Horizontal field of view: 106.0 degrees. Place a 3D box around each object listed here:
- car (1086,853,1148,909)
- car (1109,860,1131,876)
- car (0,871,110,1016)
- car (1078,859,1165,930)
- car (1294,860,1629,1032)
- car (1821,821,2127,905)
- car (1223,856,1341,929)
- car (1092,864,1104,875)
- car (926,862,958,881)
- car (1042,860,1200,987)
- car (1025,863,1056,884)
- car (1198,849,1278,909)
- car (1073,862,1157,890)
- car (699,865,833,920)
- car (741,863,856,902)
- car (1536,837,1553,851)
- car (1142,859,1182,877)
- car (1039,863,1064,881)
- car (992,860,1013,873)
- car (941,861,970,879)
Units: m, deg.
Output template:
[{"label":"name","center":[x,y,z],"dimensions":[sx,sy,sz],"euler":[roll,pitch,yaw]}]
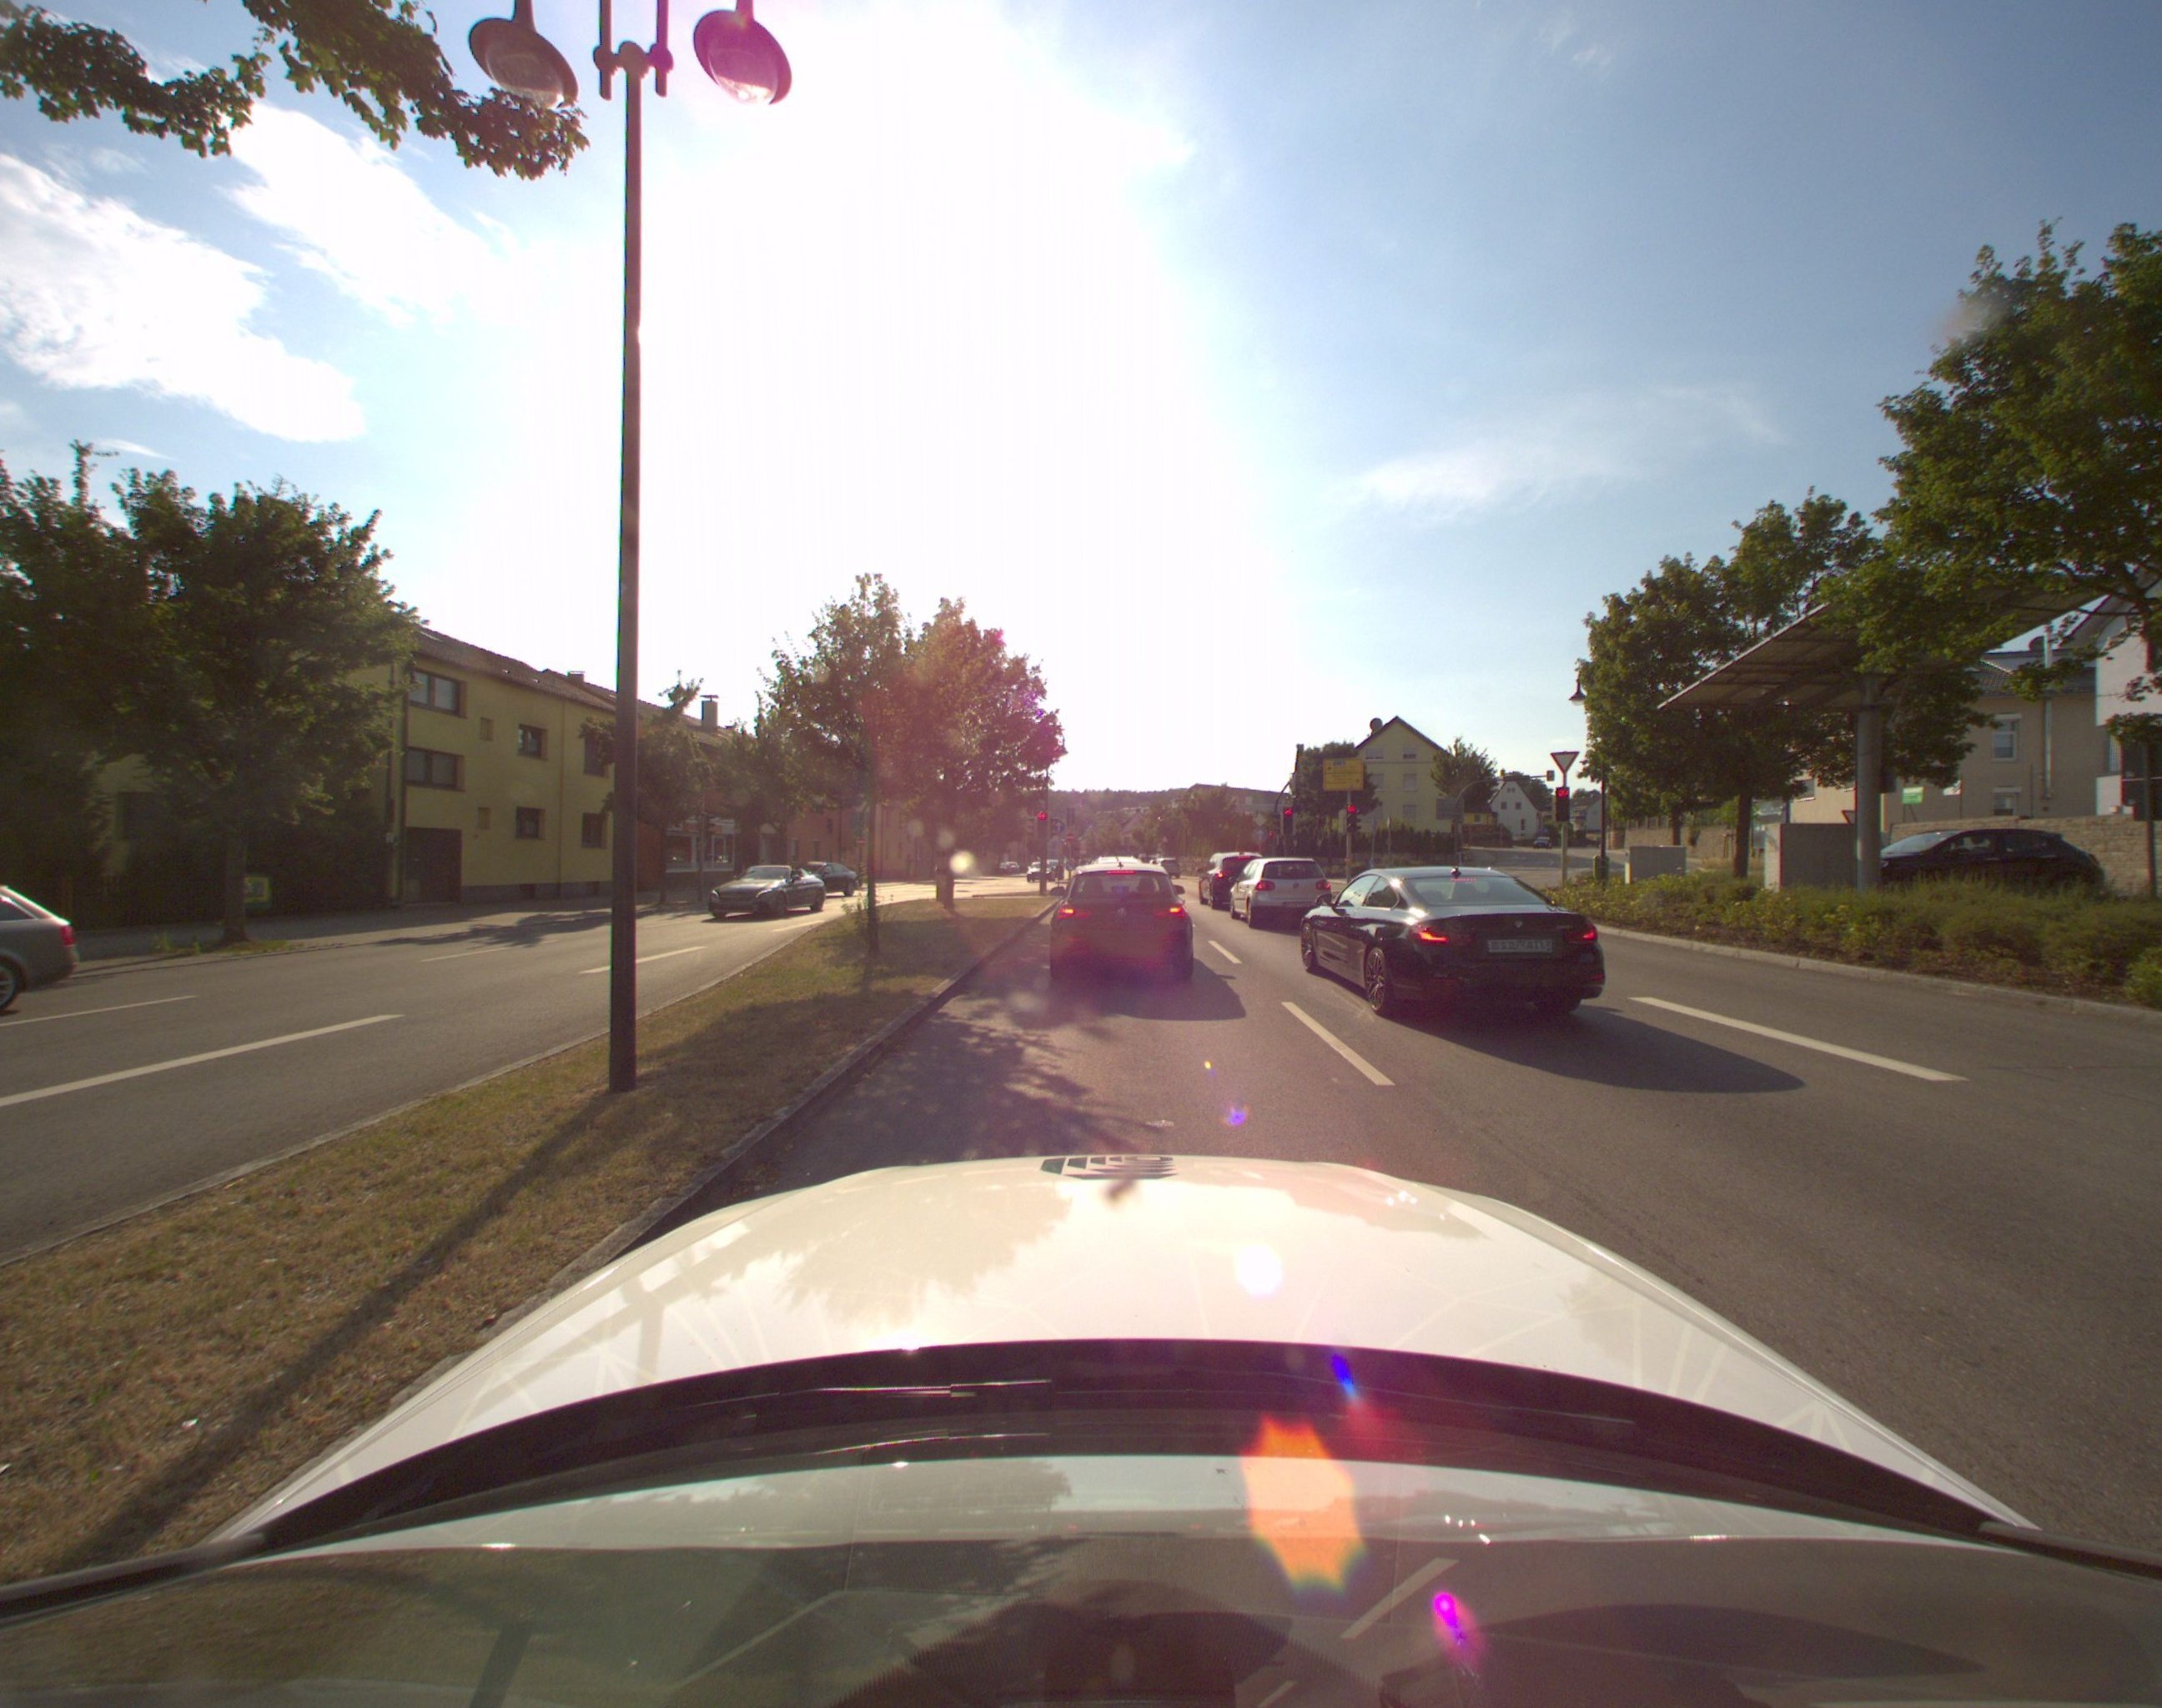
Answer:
[{"label":"car","center":[1.172,0.793,25.969],"dimensions":[1.808,1.641,4.245],"euler":[-1,0,3]},{"label":"car","center":[4.290,1.525,90.627],"dimensions":[1.887,1.702,4.517],"euler":[-2,0,-4]},{"label":"car","center":[-11.925,0.919,6.876],"dimensions":[1.679,1.462,4.714],"euler":[0,0,2]},{"label":"car","center":[0.959,0.845,19.012],"dimensions":[1.808,1.451,4.245],"euler":[-1,0,3]},{"label":"car","center":[3.690,0.774,8.868],"dimensions":[1.808,1.388,4.350],"euler":[-1,0,3]},{"label":"car","center":[18.466,0.188,17.071],"dimensions":[3.958,1.608,1.861],"euler":[0,0,14]},{"label":"car","center":[4.391,0.783,18.403],"dimensions":[1.808,1.446,4.350],"euler":[-1,0,3]},{"label":"car","center":[2.781,2.492,131.851],"dimensions":[1.917,1.596,4.001],"euler":[0,0,2]},{"label":"car","center":[-12.271,1.530,72.137],"dimensions":[1.916,1.596,4.004],"euler":[0,0,3]},{"label":"car","center":[0.573,0.802,11.390],"dimensions":[1.783,1.414,4.350],"euler":[-1,0,3]},{"label":"car","center":[-2.918,1.387,59.501],"dimensions":[1.759,1.458,4.004],"euler":[0,0,3]},{"label":"car","center":[4.693,0.714,24.876],"dimensions":[1.808,1.666,4.350],"euler":[-1,0,3]},{"label":"car","center":[1.736,1.147,42.490],"dimensions":[4.175,1.386,1.645],"euler":[0,0,-10]},{"label":"car","center":[-8.702,1.001,22.936],"dimensions":[1.772,1.349,4.483],"euler":[0,0,4]},{"label":"car","center":[-11.498,1.120,33.526],"dimensions":[1.827,1.422,4.669],"euler":[0,0,23]},{"label":"car","center":[59.183,-1.282,103.920],"dimensions":[1.769,1.506,4.096],"euler":[0,3,32]},{"label":"car","center":[6.685,1.146,67.693],"dimensions":[1.865,1.485,4.635],"euler":[0,0,-15]},{"label":"car","center":[-2.374,1.468,66.743],"dimensions":[1.685,1.353,4.004],"euler":[0,0,3]},{"label":"car","center":[-9.829,1.588,102.200],"dimensions":[1.916,1.596,4.004],"euler":[0,0,3]},{"label":"car","center":[-11.933,1.513,77.420],"dimensions":[1.916,1.596,4.004],"euler":[0,0,3]}]
